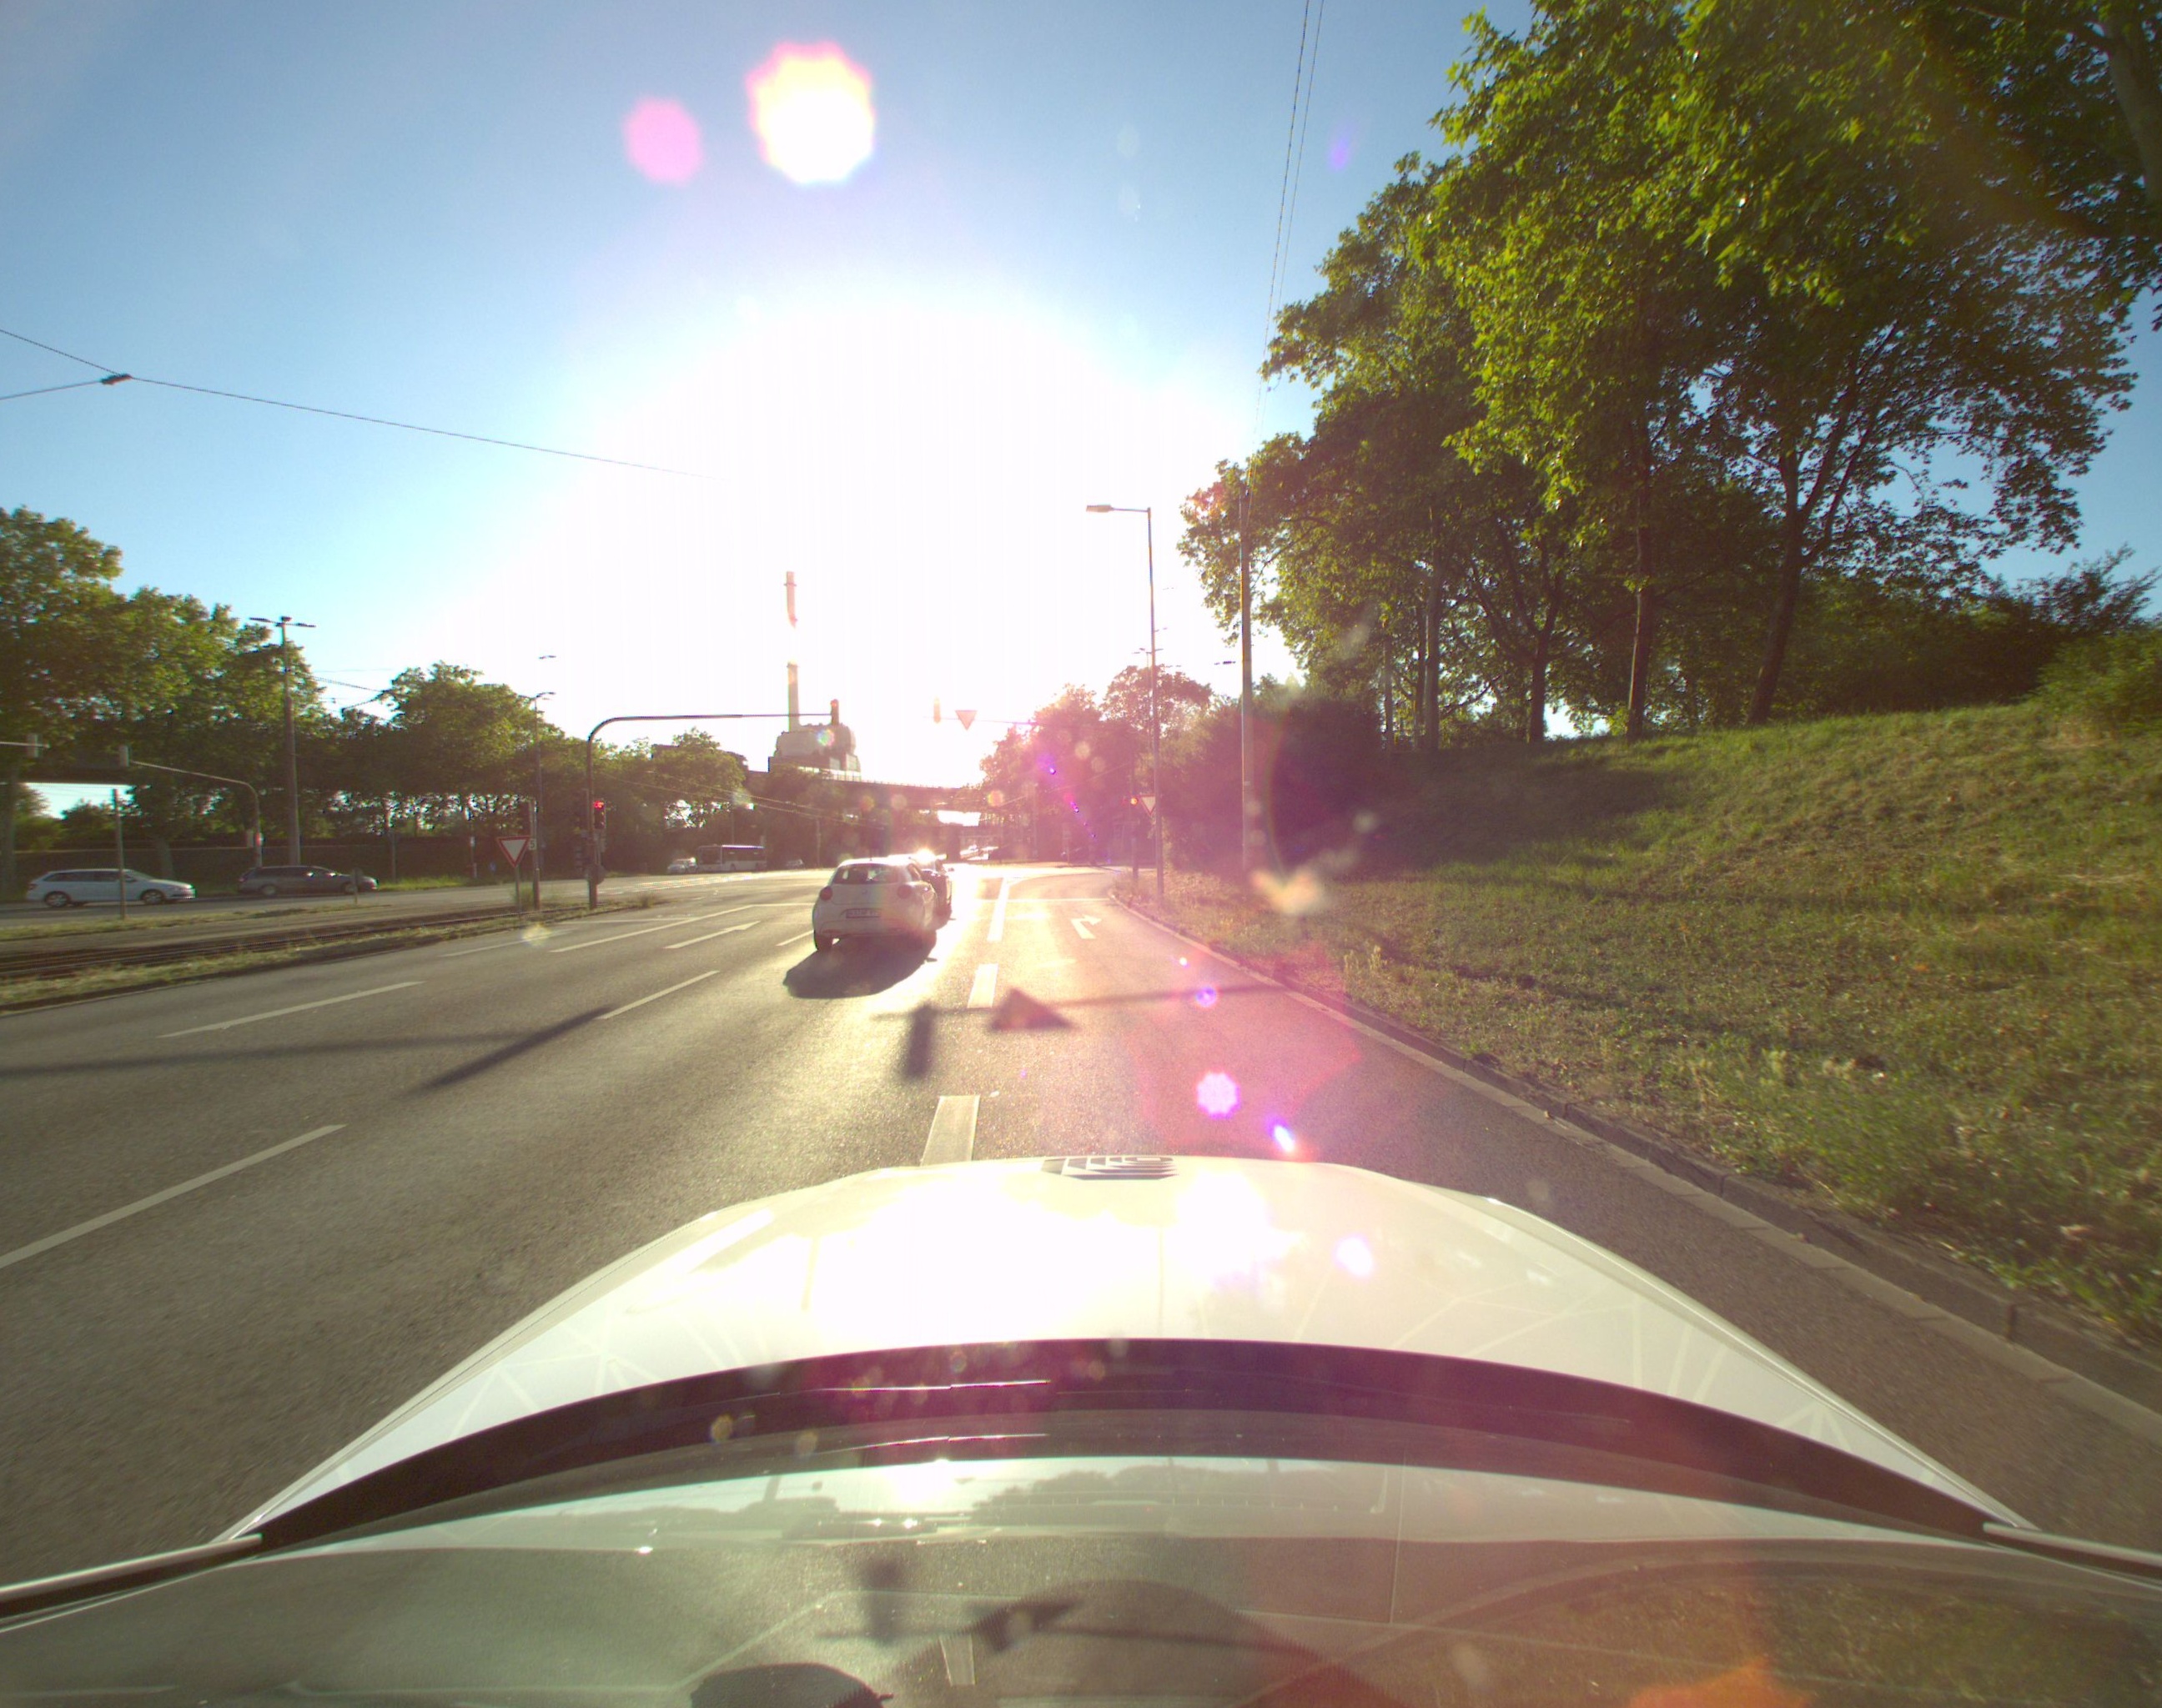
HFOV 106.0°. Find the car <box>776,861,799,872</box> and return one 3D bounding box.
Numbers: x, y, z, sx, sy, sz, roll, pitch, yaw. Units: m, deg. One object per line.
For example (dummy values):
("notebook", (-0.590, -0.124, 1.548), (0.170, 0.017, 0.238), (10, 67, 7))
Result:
("car", (-38.146, 1.609, 105.947), (1.603, 1.419, 4.004), (-1, 0, -3))

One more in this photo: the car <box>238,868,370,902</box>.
("car", (-36.980, 1.426, 38.897), (4.470, 1.405, 1.650), (-1, 0, -44))

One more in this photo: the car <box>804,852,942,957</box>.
("car", (-3.511, 0.760, 14.424), (1.734, 1.505, 3.992), (-2, 1, -6))

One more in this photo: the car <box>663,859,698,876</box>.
("car", (-36.852, 1.227, 75.033), (1.605, 1.512, 3.999), (-1, 0, -6))

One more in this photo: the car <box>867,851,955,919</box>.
("car", (-4.200, 0.698, 20.679), (1.712, 1.465, 4.198), (-2, 1, -6))

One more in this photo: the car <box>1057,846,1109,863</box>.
("car", (0.185, 0.054, 77.555), (4.594, 1.574, 1.681), (-1, 0, -22))

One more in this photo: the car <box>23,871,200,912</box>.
("car", (-38.525, 1.457, 32.531), (4.213, 1.405, 1.653), (-1, 0, -34))

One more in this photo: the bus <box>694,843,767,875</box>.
("bus", (-37.440, 0.588, 87.613), (2.537, 3.130, 12.906), (-2, -1, -2))
